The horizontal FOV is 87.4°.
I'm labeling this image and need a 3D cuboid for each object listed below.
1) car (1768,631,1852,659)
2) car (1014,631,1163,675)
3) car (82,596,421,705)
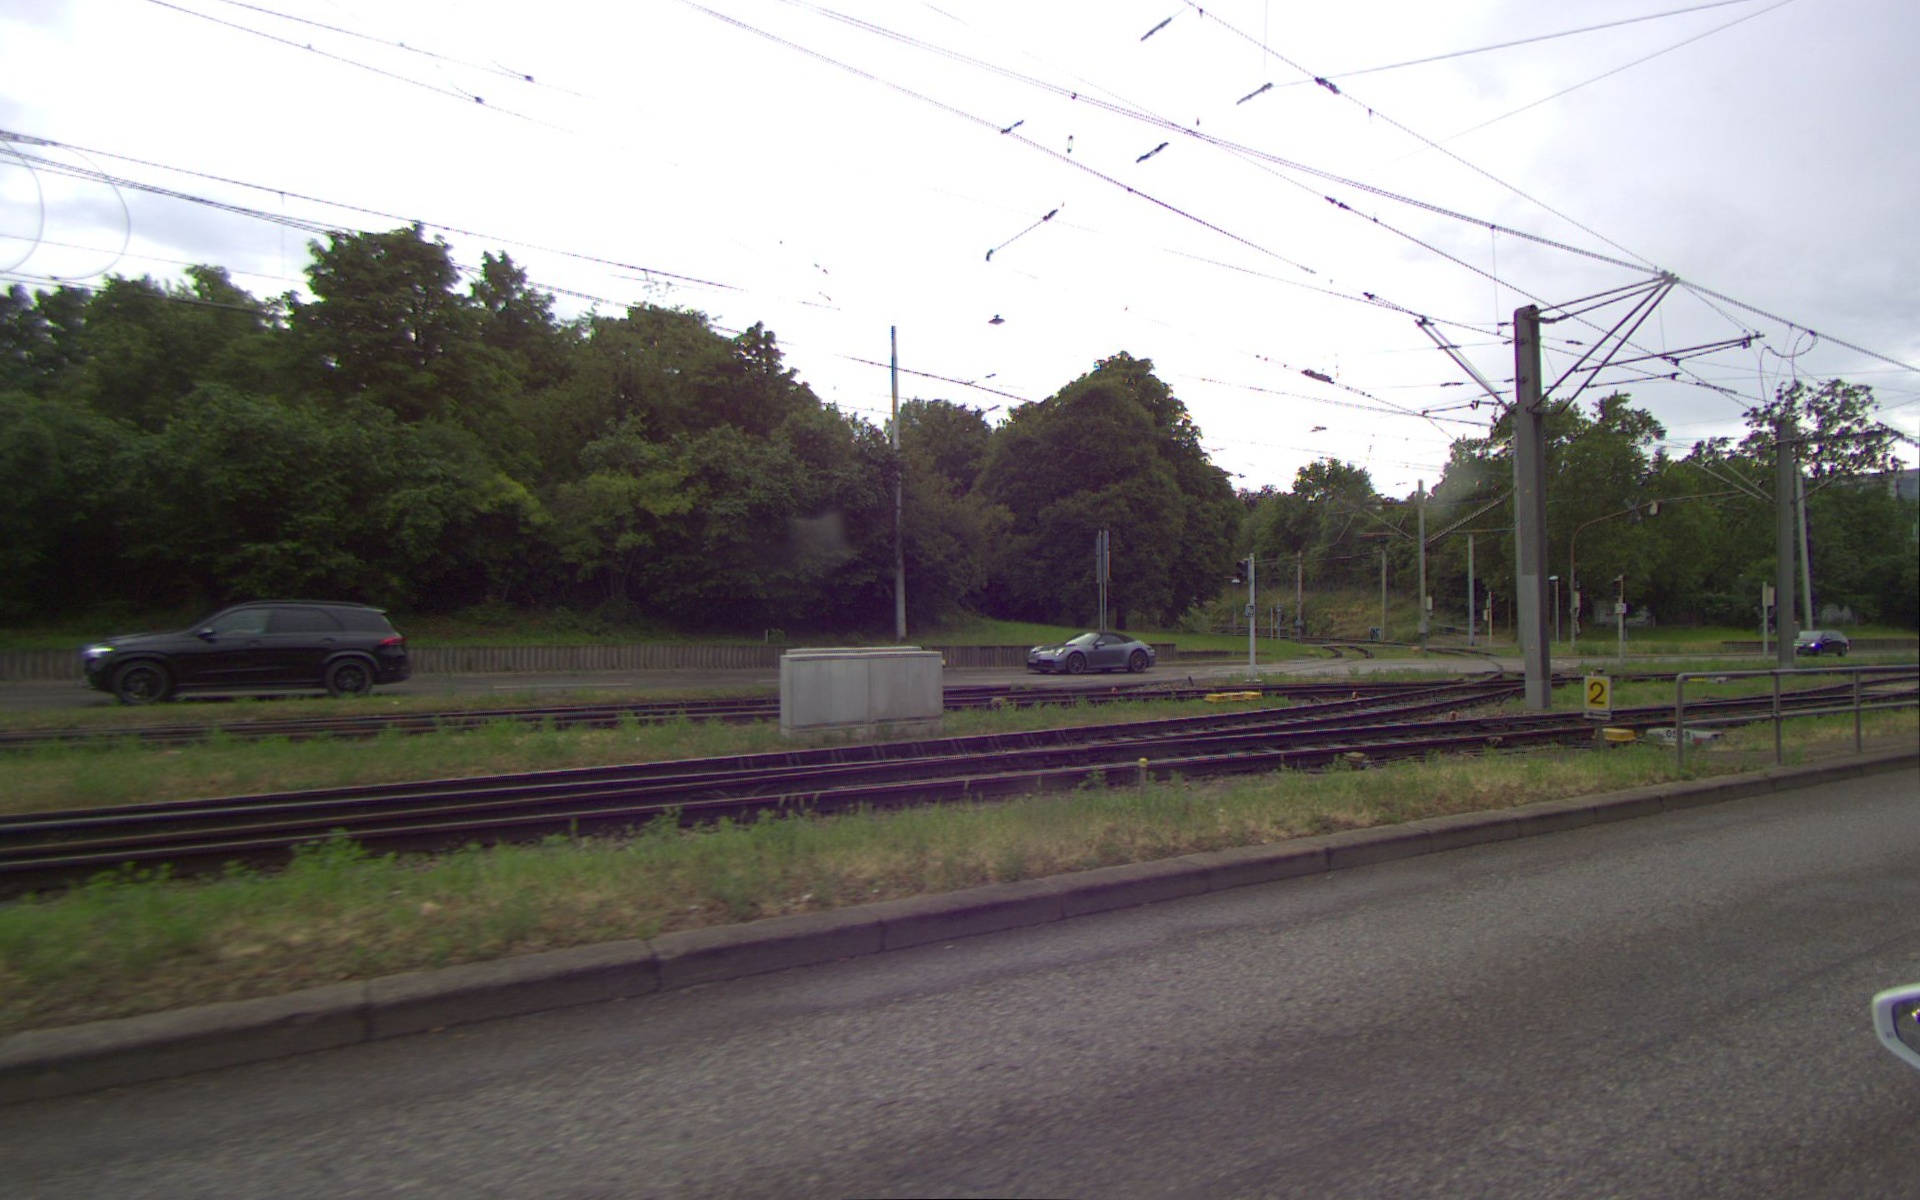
[{"bbox_3d":[46.776,2.455,55.287,4.622,1.466,1.920,1,-1,-27],"label":"car"},{"bbox_3d":[4.040,1.626,31.473,4.423,1.278,1.917,1,-1,-31],"label":"car"},{"bbox_3d":[-12.652,0.879,18.398,4.807,1.762,2.073,1,-1,-31],"label":"car"}]
